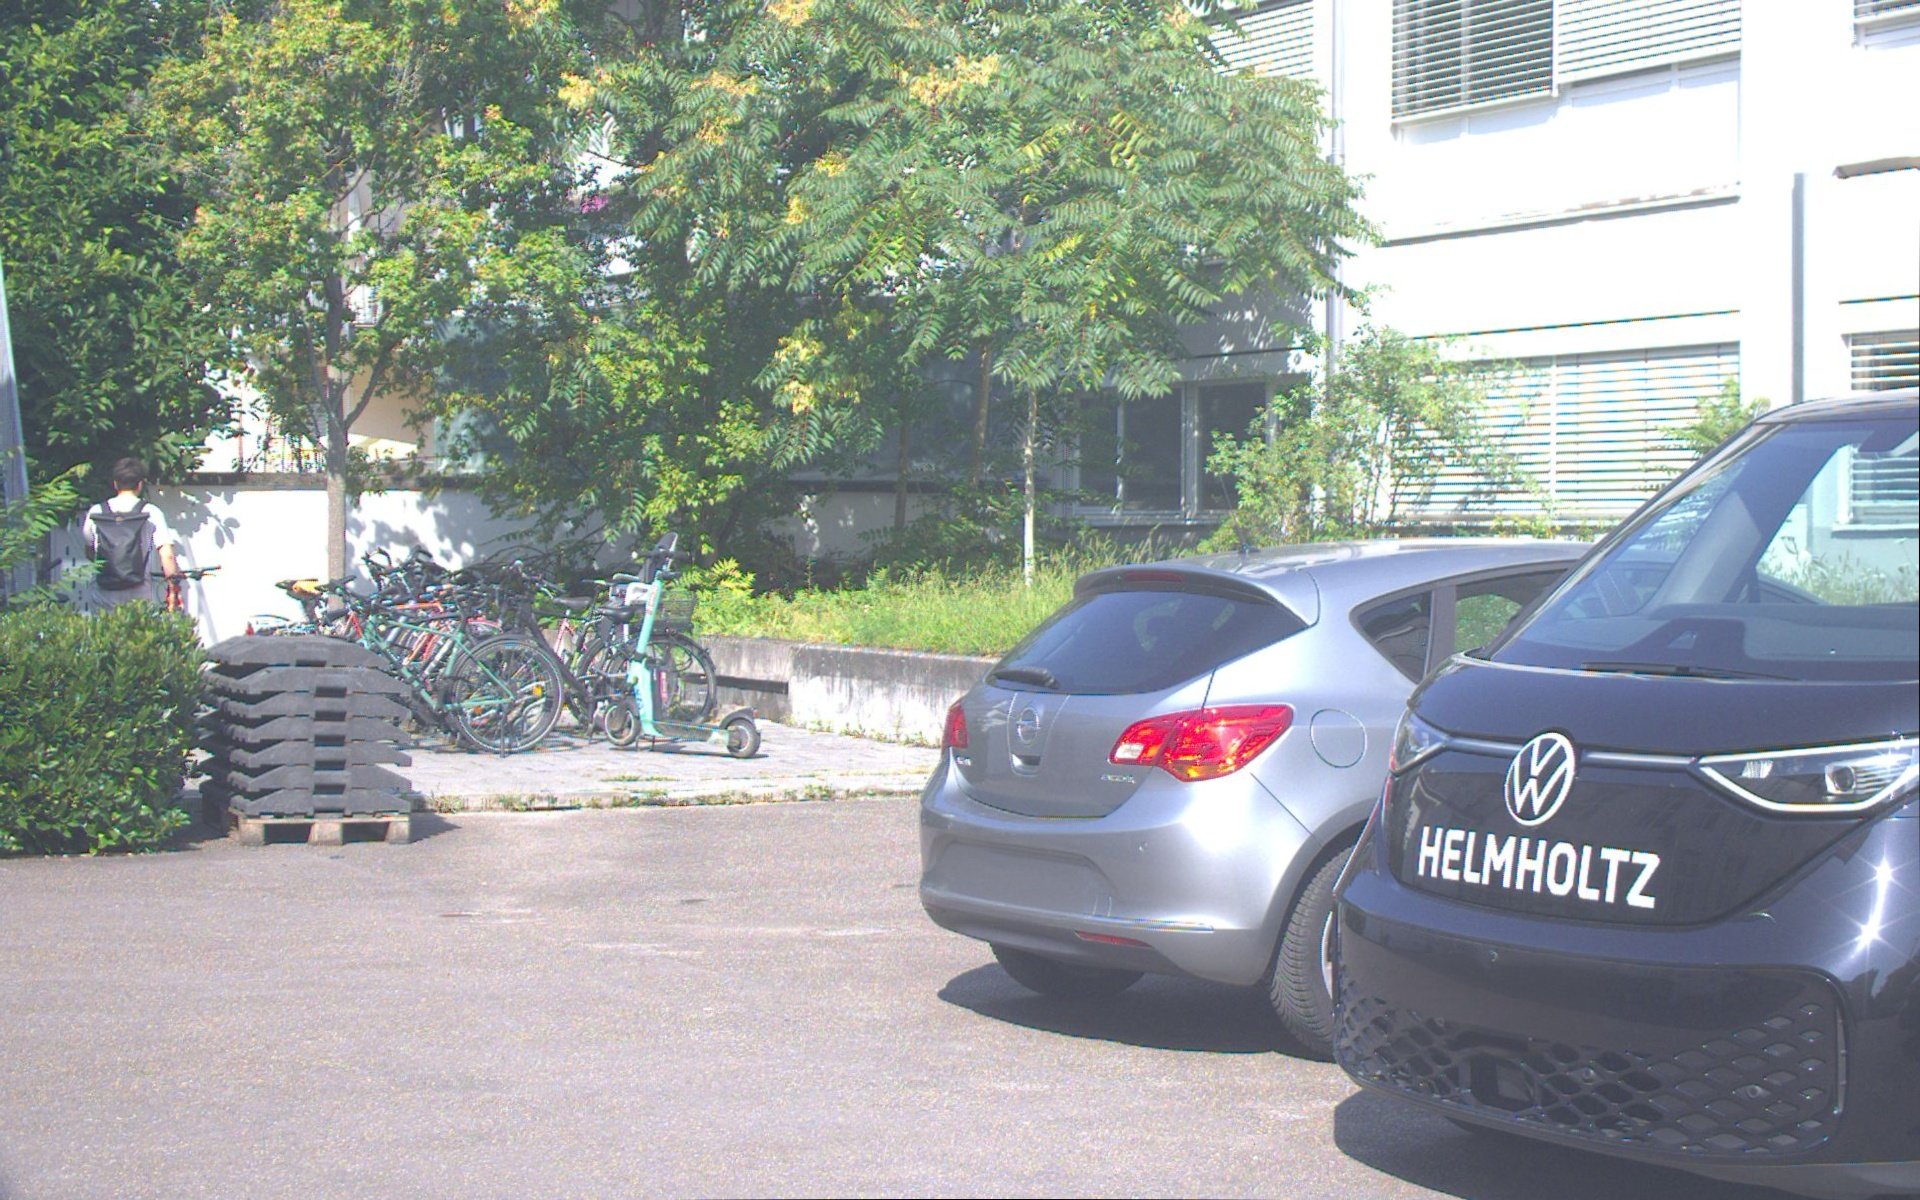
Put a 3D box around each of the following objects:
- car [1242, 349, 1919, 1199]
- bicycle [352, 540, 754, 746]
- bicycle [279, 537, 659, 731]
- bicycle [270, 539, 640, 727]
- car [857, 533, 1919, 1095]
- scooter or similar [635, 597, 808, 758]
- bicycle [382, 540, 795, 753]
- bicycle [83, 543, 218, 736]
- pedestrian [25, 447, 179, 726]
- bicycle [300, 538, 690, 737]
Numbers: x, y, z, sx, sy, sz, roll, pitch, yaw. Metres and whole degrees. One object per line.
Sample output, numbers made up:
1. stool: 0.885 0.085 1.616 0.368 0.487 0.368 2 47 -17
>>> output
1. car: 3.020 0.406 8.309 4.335 1.852 1.915 -1 2 -30
2. bicycle: -2.530 0.270 21.452 2.410 1.242 0.526 1 1 -21
3. bicycle: -3.232 0.227 22.698 2.410 1.242 0.526 1 1 -21
4. bicycle: -3.425 0.229 23.390 2.410 1.242 0.526 1 1 -21
5. car: 1.765 0.536 10.903 3.897 1.461 1.663 -1 2 -34
6. scooter or similar: -1.437 0.454 20.676 0.998 0.921 0.359 2 1 32
7. bicycle: -2.240 0.284 20.834 2.410 1.242 0.526 1 1 -21
8. bicycle: -5.239 0.228 22.185 0.488 1.139 1.994 -1 2 -23
9. pedestrian: -5.543 -0.087 22.200 0.858 1.765 0.611 1 1 -23
10. bicycle: -2.990 0.243 22.174 2.410 1.242 0.526 1 1 -21
